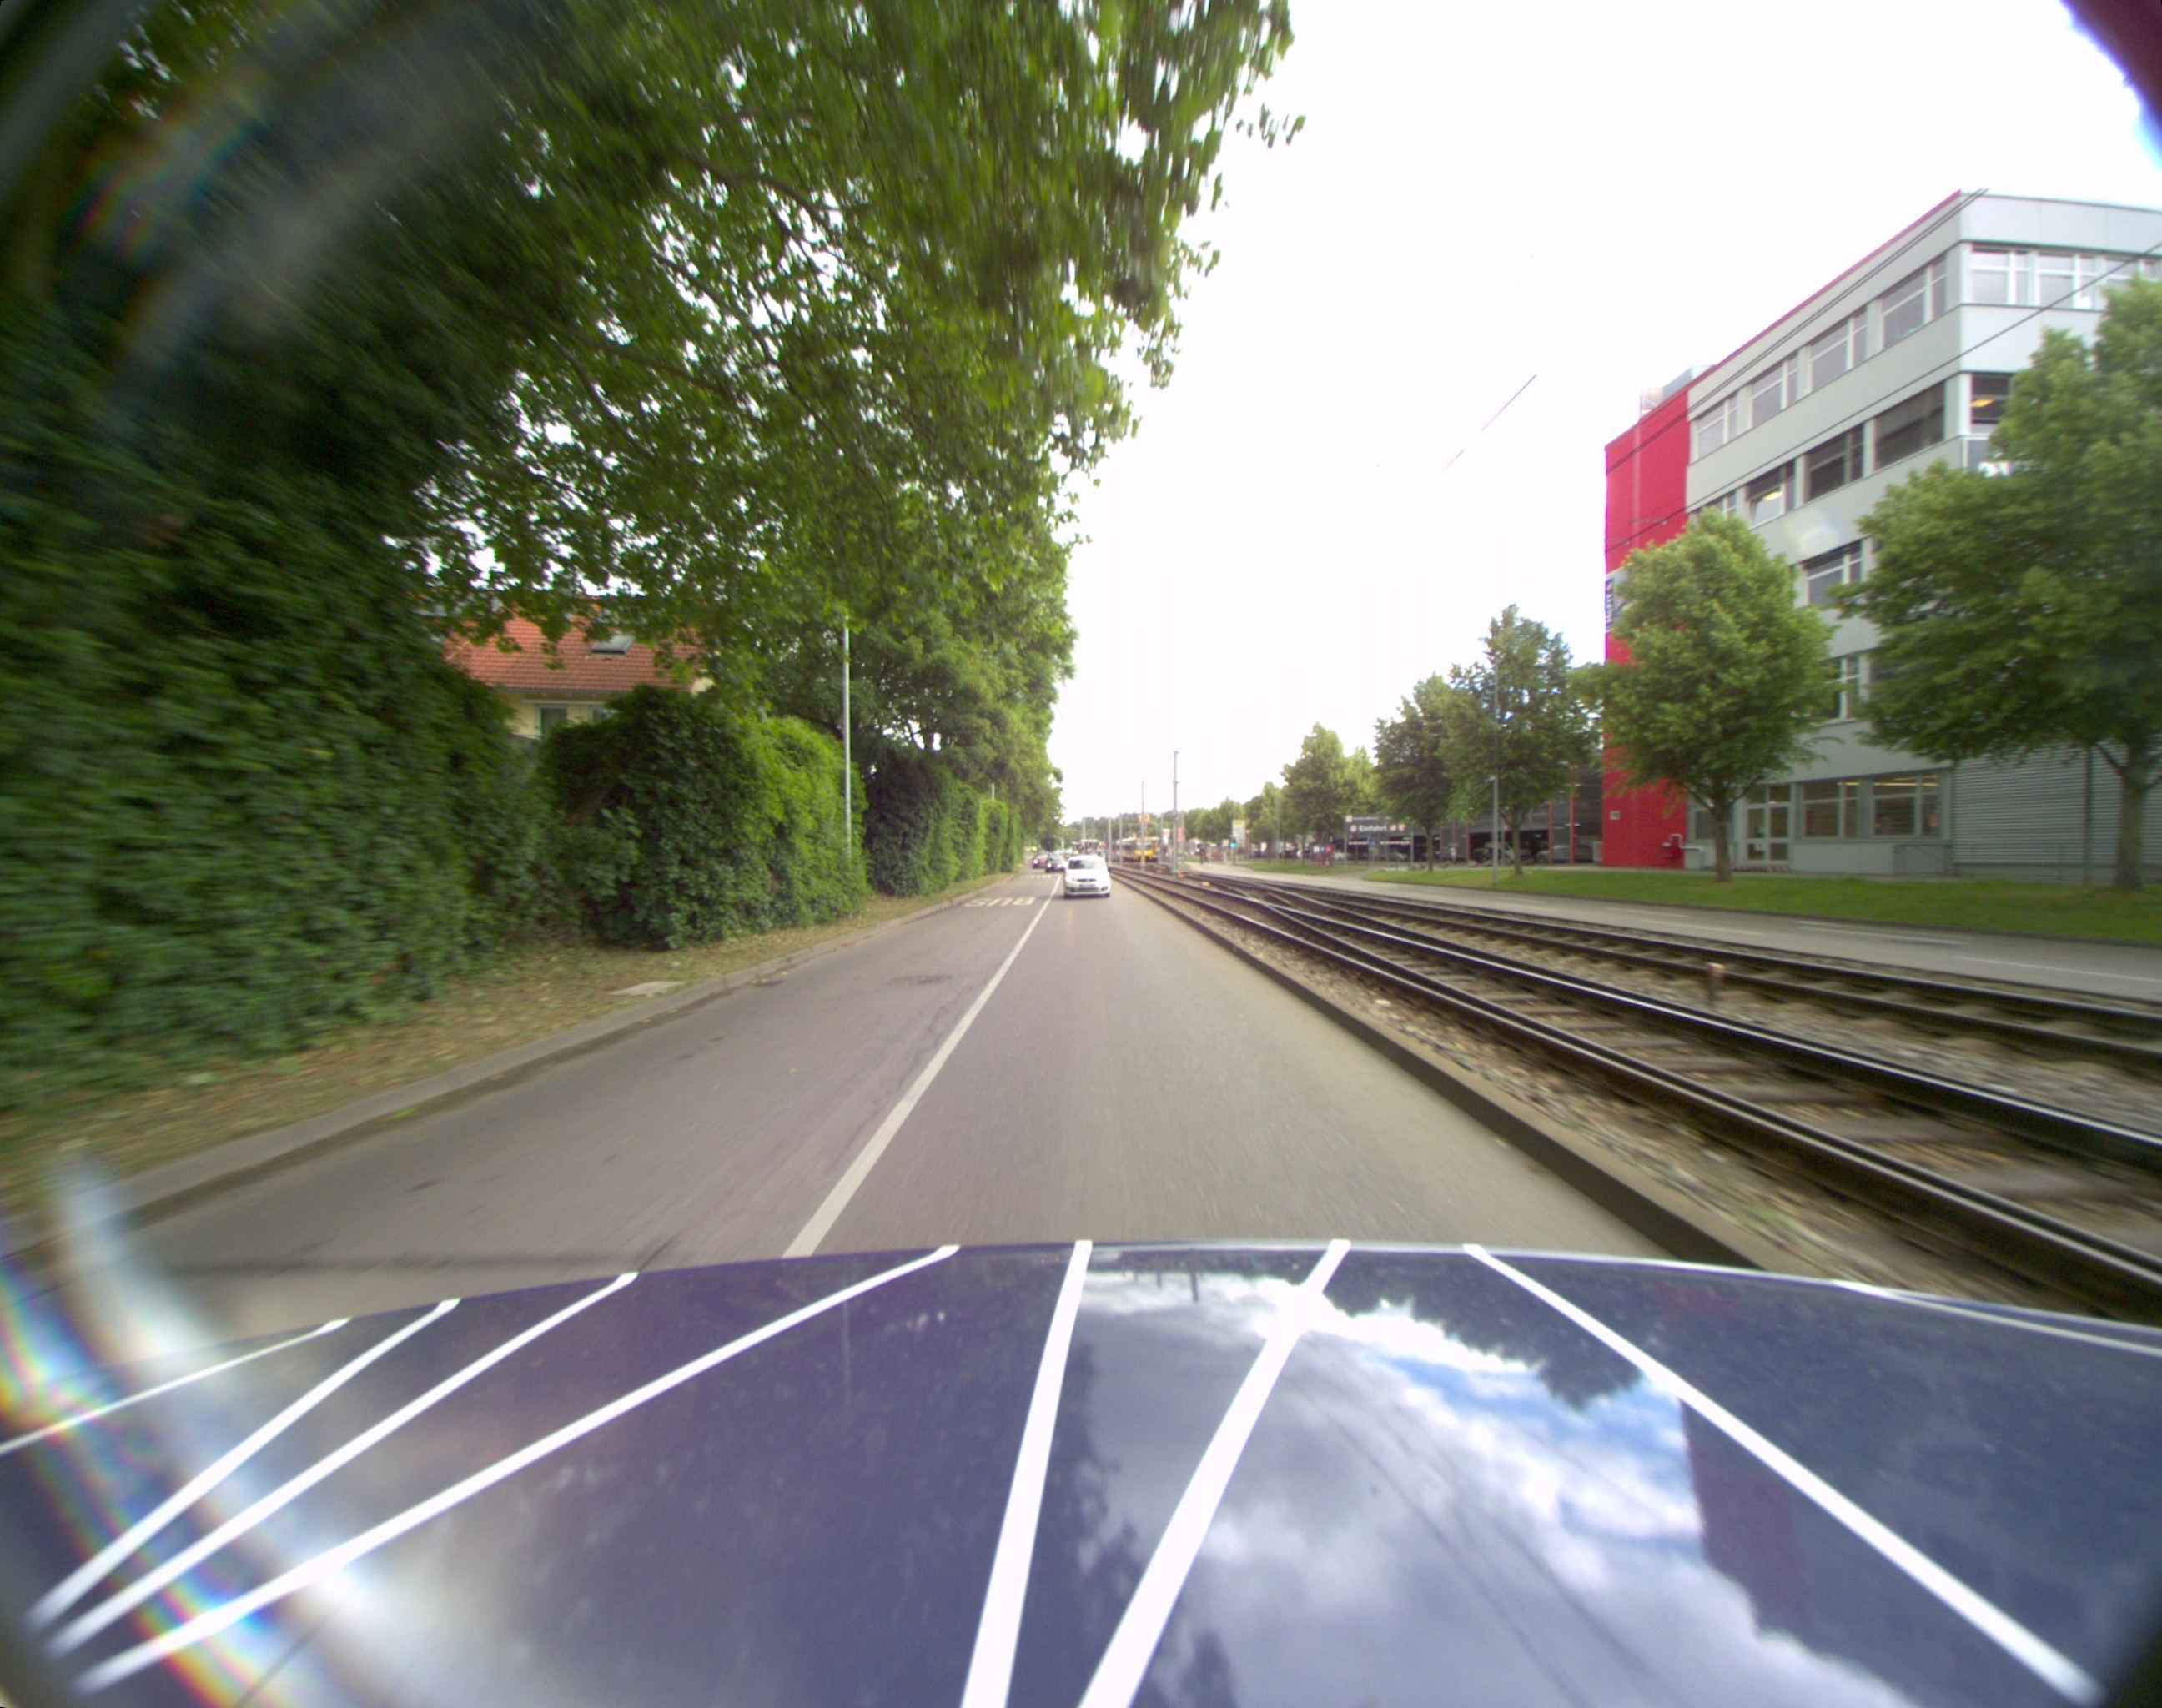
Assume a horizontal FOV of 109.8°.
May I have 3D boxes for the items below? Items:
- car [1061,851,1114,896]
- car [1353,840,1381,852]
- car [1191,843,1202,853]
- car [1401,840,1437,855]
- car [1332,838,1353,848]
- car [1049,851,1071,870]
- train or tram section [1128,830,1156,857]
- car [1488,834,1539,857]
[{"bbox_3d":[0.243,0.663,27.965,1.764,1.469,4.030,-2,1,0],"label":"car"},{"bbox_3d":[38.923,-1.091,103.343,1.999,1.690,4.404,-1,1,-2],"label":"car"},{"bbox_3d":[22.549,-1.153,148.206,1.997,2.002,4.002,-1,1,7],"label":"car"},{"bbox_3d":[38.523,-0.731,86.753,1.999,1.618,4.404,-1,1,-2],"label":"car"},{"bbox_3d":[45.262,-1.856,131.432,1.999,1.618,4.404,-1,1,-2],"label":"car"},{"bbox_3d":[-1.776,0.556,66.061,1.714,1.587,4.000,-1,1,1],"label":"car"},{"bbox_3d":[8.950,-1.576,113.223,2.778,3.753,13.784,-1,1,-1],"label":"train or tram section"},{"bbox_3d":[39.916,-0.805,70.242,1.999,2.002,4.404,-1,1,-2],"label":"car"}]
